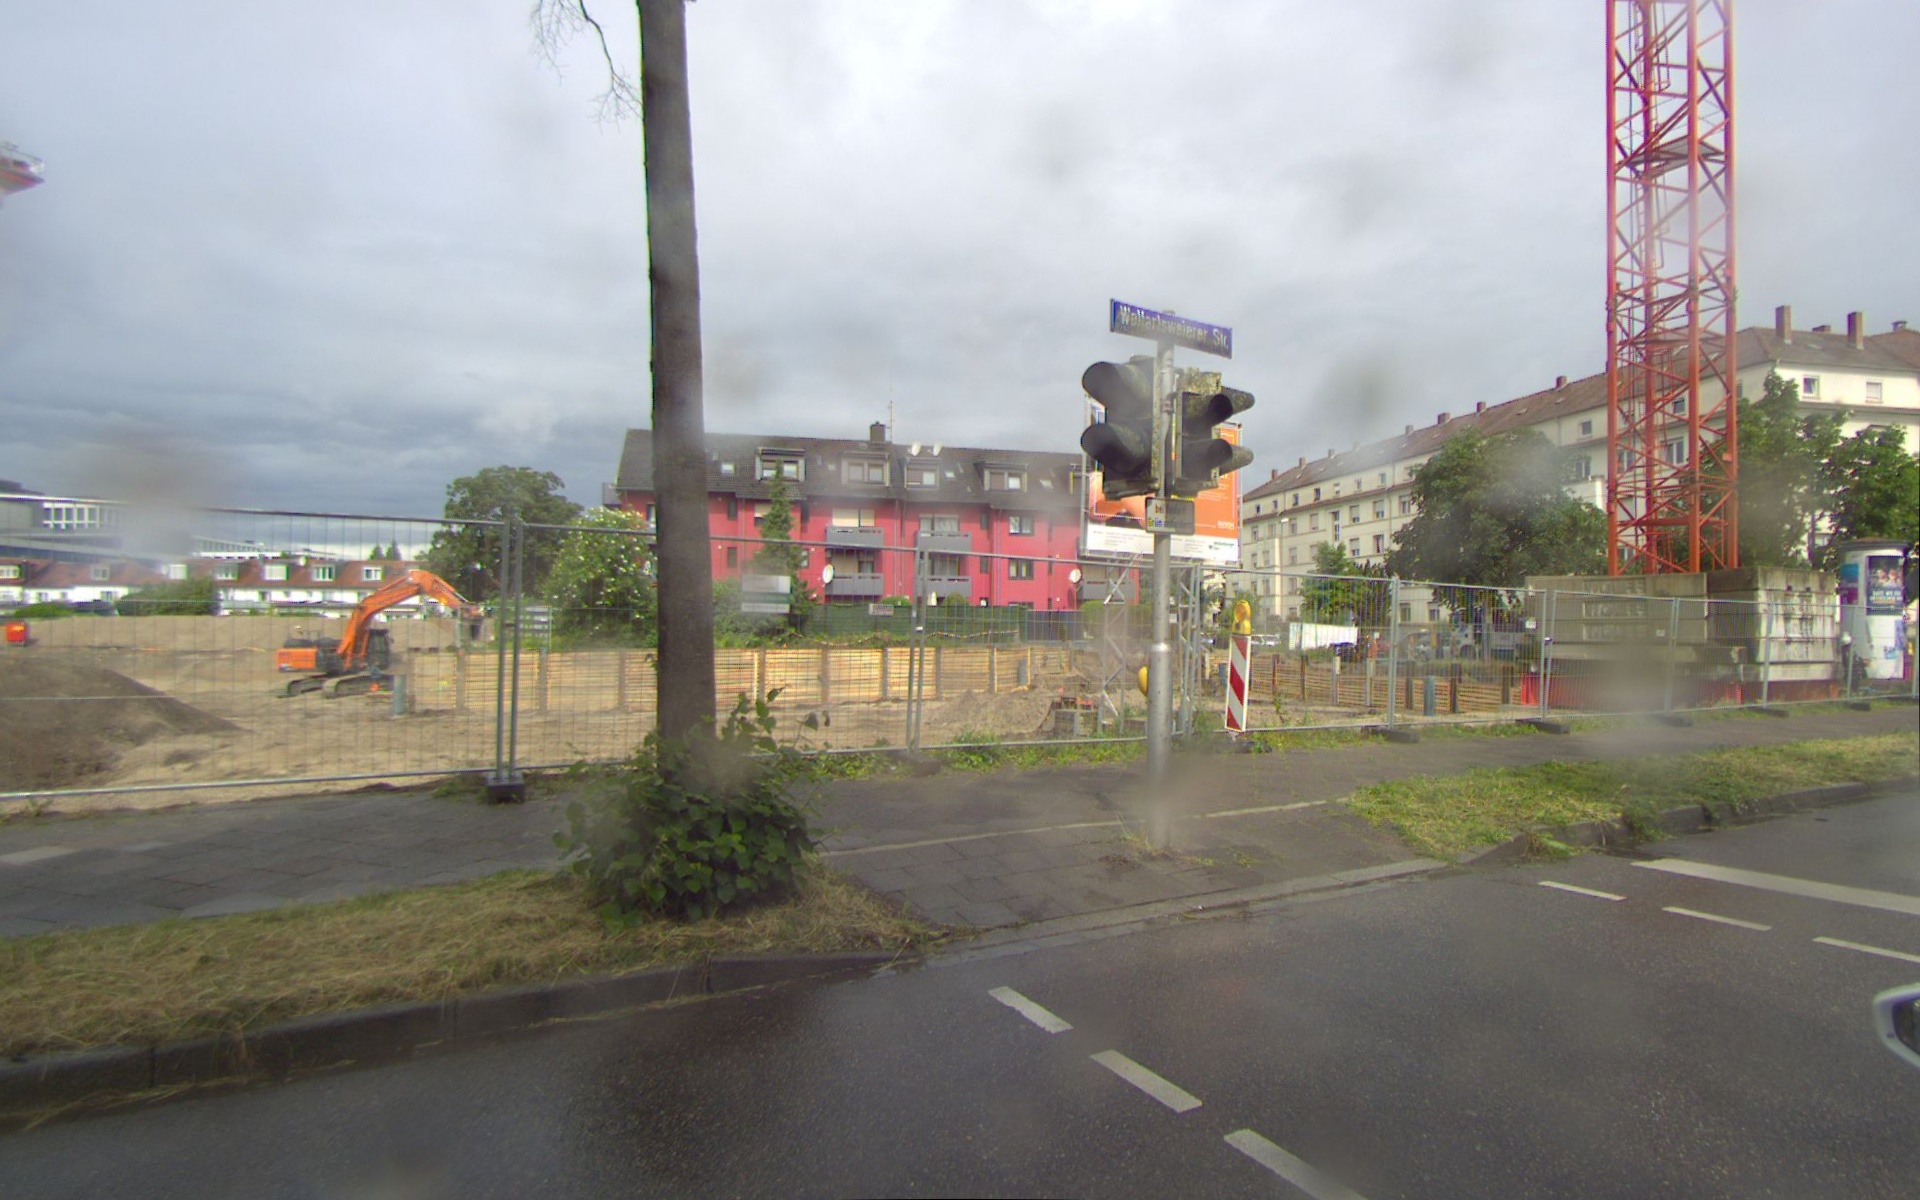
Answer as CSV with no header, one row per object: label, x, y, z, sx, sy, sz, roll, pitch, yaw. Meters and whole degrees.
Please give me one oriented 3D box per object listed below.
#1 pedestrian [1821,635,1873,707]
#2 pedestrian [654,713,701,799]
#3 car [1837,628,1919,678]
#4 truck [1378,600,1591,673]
pedestrian,21.281,1.681,24.101,0.710,1.651,0.684,2,0,23
pedestrian,-5.893,3.240,20.953,0.837,1.706,0.585,1,-4,-25
car,32.273,1.785,33.355,1.794,1.606,4.425,1,0,-21
truck,25.622,1.831,49.965,3.729,3.226,9.816,1,-2,-15
